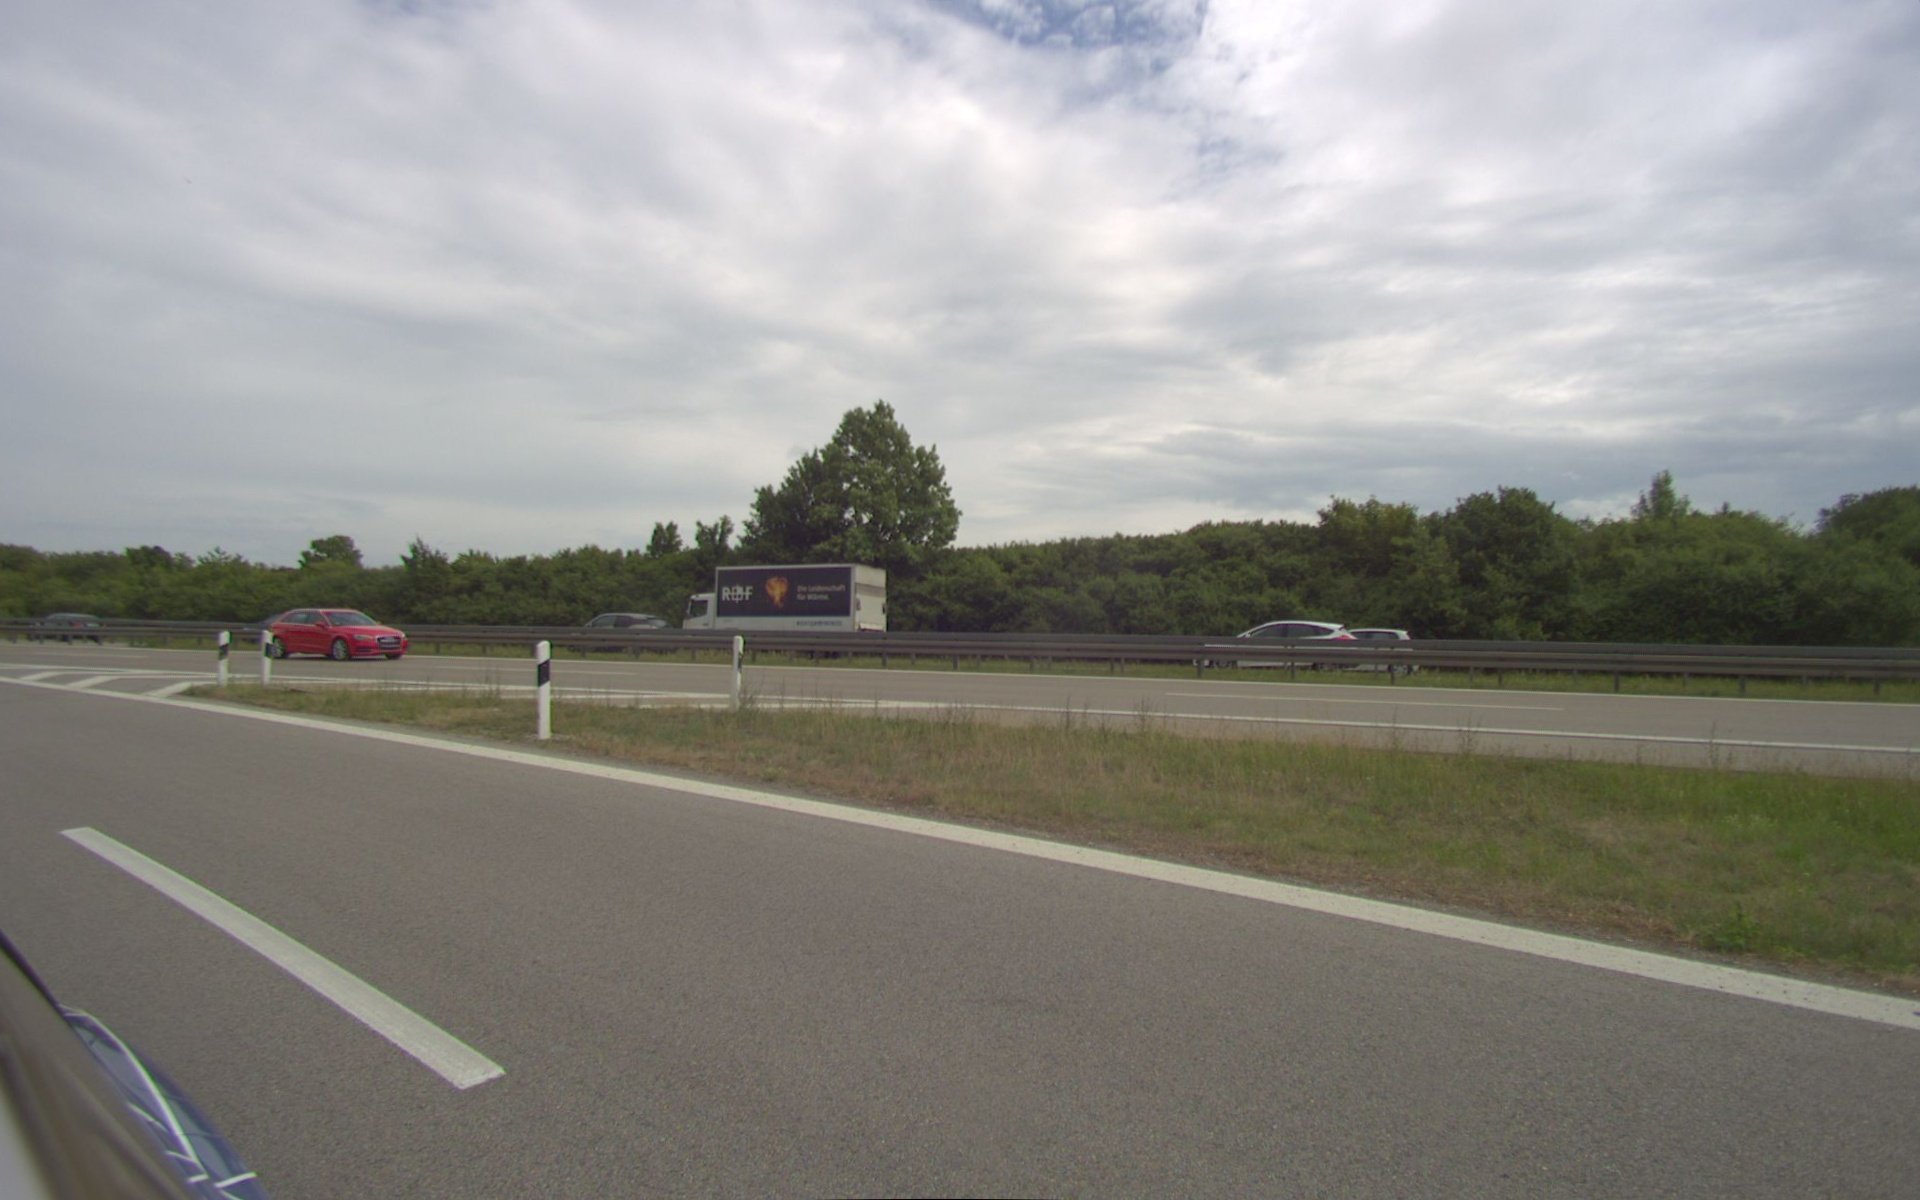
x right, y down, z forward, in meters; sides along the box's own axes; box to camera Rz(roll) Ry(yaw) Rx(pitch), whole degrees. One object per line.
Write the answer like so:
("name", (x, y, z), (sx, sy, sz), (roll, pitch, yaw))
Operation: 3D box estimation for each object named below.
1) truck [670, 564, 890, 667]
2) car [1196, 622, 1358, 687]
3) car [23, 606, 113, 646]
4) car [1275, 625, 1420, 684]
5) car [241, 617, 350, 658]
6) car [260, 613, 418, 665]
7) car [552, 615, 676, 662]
("truck", (-6.919, 0.577, 38.753), (8.144, 3.674, 2.746), (0, -1, 23))
("car", (8.441, 1.389, 26.937), (3.973, 1.586, 1.865), (0, -1, 22))
("car", (-46.341, 1.318, 52.597), (4.192, 2.029, 1.916), (0, -1, 24))
("car", (11.718, 1.615, 30.695), (3.974, 1.641, 1.985), (0, -1, 23))
("car", (-28.105, 1.537, 42.820), (3.974, 1.641, 1.985), (0, -1, 23))
("car", (-17.440, 1.061, 28.435), (3.971, 1.352, 1.735), (0, -1, 21))
("car", (-12.324, 1.351, 36.088), (3.973, 1.586, 1.865), (0, -1, 22))
